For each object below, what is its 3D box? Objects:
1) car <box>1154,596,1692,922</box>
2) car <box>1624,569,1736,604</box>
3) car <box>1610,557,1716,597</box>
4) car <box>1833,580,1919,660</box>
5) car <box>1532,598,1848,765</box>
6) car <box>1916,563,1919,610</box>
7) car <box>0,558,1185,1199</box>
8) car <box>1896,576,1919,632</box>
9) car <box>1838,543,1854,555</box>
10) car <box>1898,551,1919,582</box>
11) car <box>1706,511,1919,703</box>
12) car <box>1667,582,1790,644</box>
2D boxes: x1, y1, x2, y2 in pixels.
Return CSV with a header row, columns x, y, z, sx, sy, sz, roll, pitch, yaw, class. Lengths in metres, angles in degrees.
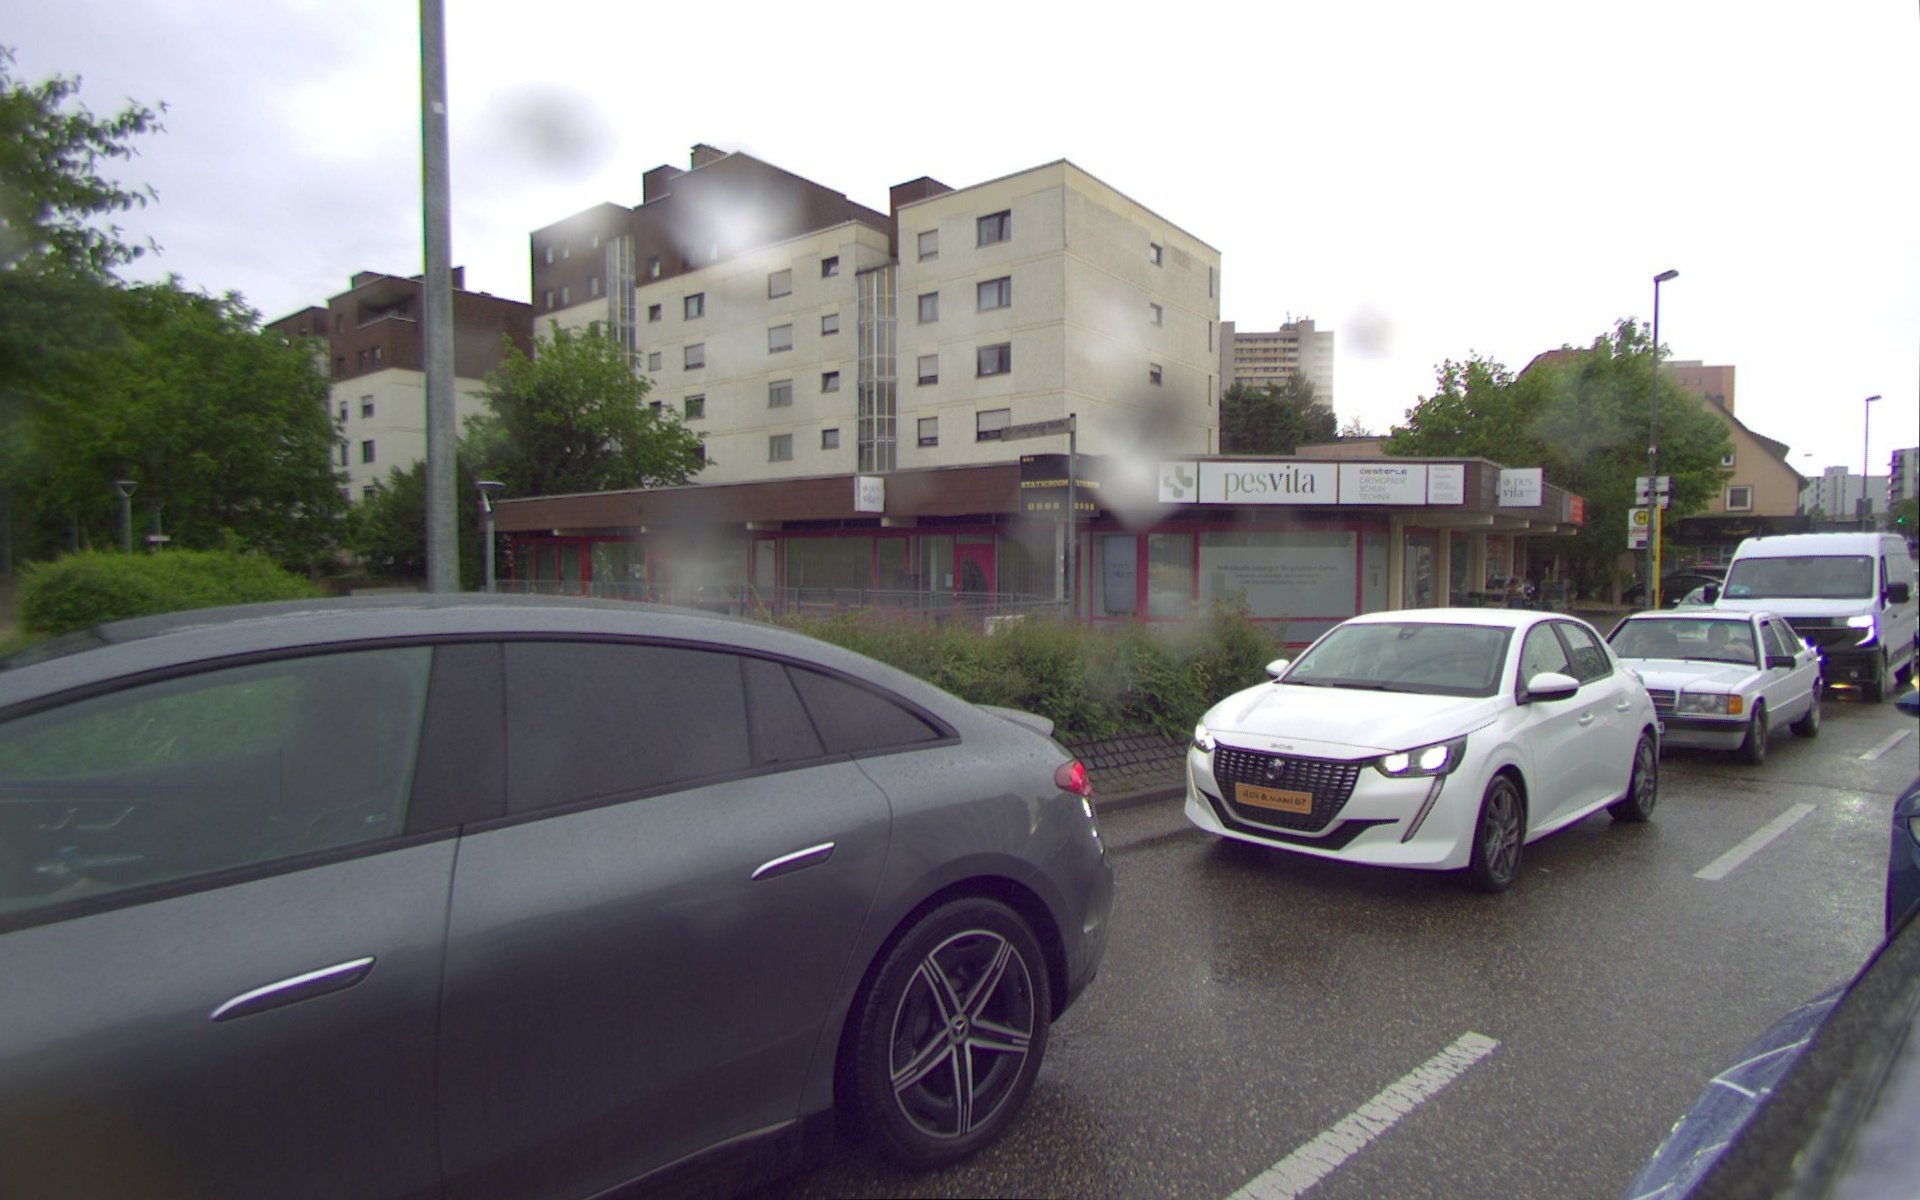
x,y,z,sx,sy,sz,roll,pitch,yaw,class
3.183,0.712,6.554,4.043,1.433,1.665,-1,1,-41,car
32.184,-0.631,45.285,3.981,1.445,1.858,2,2,39,car
33.081,-1.104,47.643,3.981,1.801,1.858,2,2,39,car
20.153,0.369,21.552,3.930,1.558,1.802,-1,2,-41,car
7.741,0.688,10.593,4.089,1.362,1.787,-1,1,-41,car
44.040,-0.591,44.865,3.930,2.038,1.998,-1,3,-40,car
-1.646,0.689,2.383,4.724,1.485,1.840,0,-1,-41,car
29.241,0.076,29.945,3.933,1.588,1.996,-2,1,-43,car
139.525,-8.008,159.425,1.657,1.654,3.754,1,1,37,car
58.429,-1.980,61.271,3.930,1.776,1.879,0,3,-41,car
14.016,0.016,16.308,6.021,2.549,2.194,-2,2,-43,car
20.237,0.275,26.601,3.930,1.509,1.787,-1,1,-41,car
